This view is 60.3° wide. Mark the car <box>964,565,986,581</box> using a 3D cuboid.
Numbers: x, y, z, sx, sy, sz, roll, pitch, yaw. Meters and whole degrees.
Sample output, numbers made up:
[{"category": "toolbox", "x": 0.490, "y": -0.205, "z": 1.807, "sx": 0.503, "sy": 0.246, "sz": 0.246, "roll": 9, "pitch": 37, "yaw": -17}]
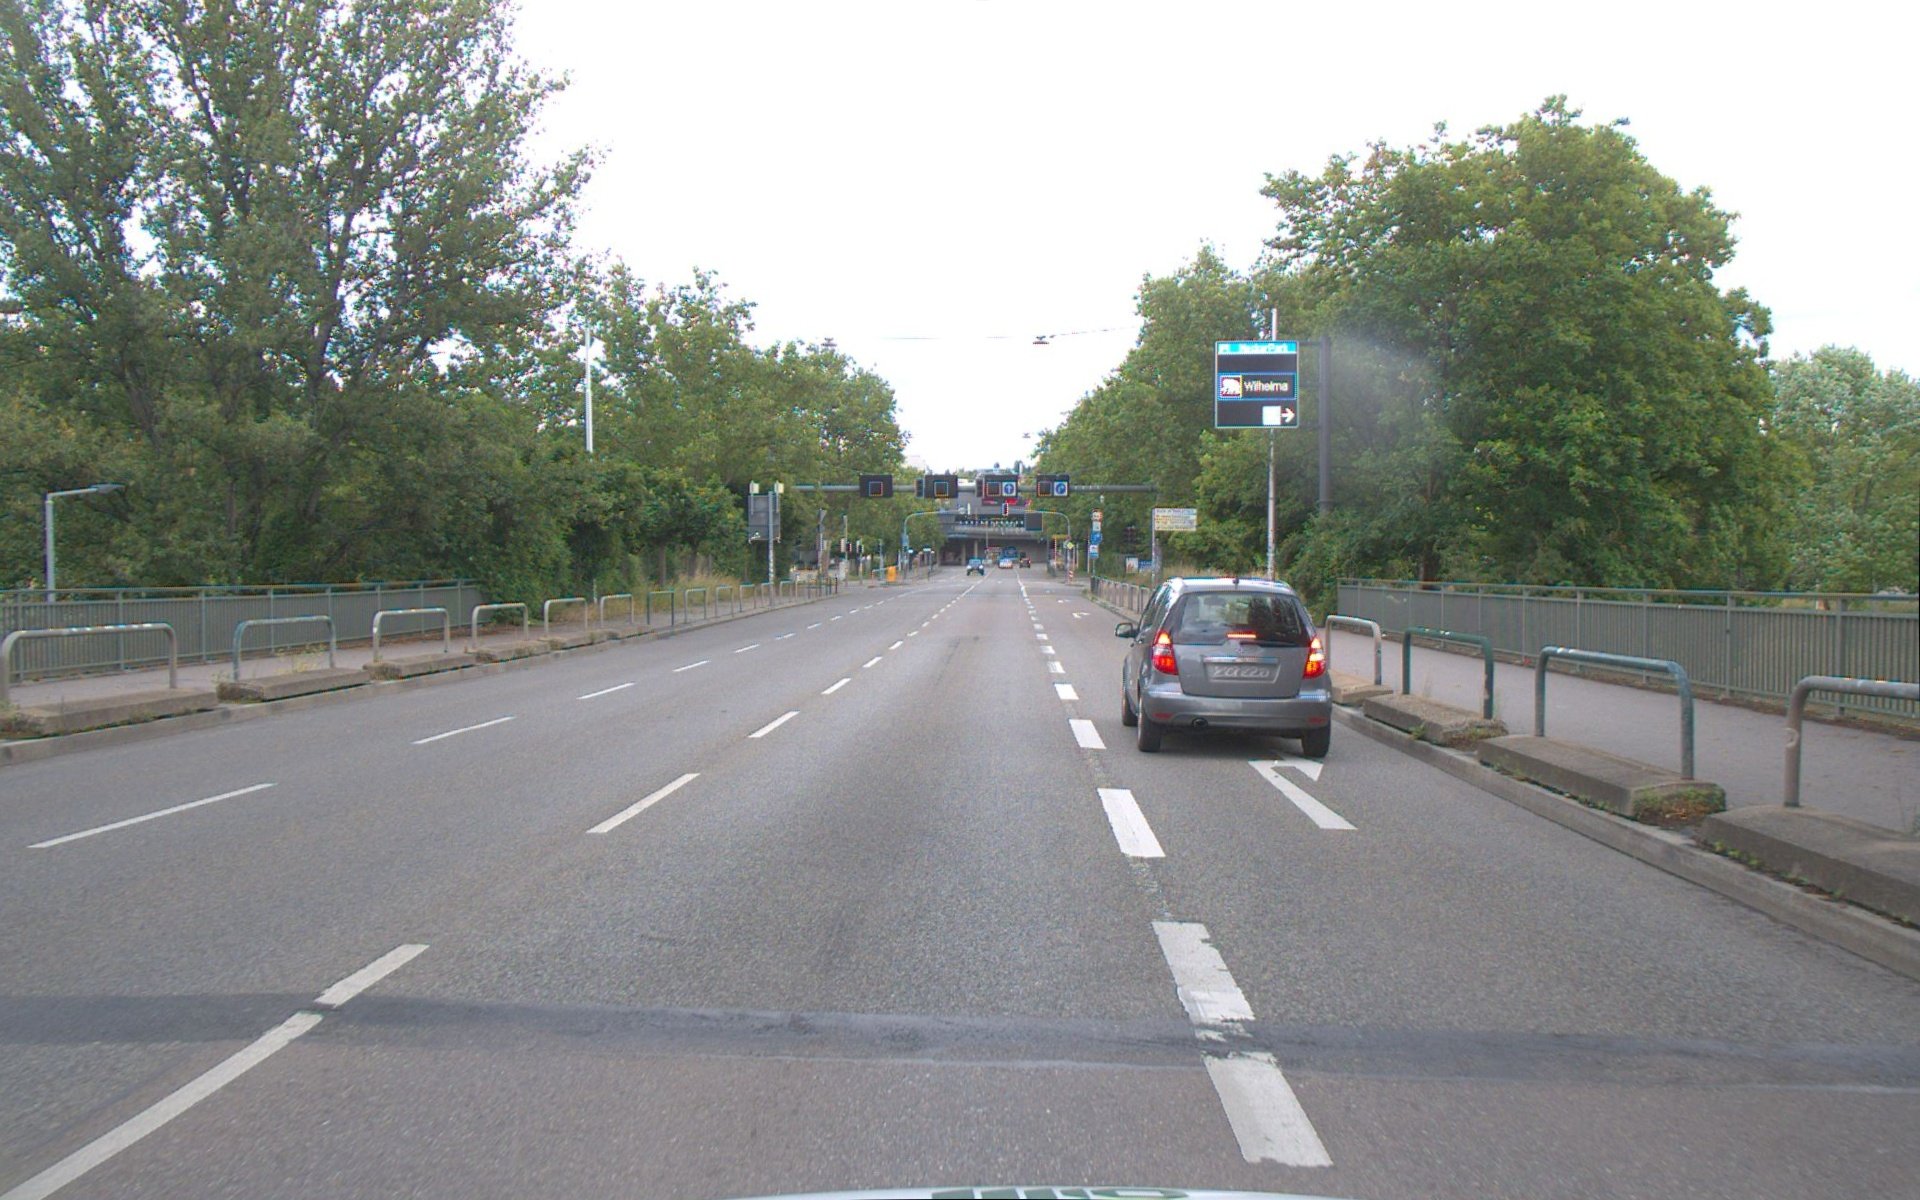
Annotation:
[{"category": "car", "x": 1.643, "y": -2.938, "z": 178.482, "sx": 1.951, "sy": 1.689, "sz": 4.520, "roll": -1, "pitch": 1, "yaw": 5}]

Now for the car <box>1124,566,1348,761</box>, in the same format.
[{"category": "car", "x": 2.541, "y": 0.527, "z": 16.088, "sx": 1.788, "sy": 1.644, "sz": 4.036, "roll": 0, "pitch": 0, "yaw": 4}]
